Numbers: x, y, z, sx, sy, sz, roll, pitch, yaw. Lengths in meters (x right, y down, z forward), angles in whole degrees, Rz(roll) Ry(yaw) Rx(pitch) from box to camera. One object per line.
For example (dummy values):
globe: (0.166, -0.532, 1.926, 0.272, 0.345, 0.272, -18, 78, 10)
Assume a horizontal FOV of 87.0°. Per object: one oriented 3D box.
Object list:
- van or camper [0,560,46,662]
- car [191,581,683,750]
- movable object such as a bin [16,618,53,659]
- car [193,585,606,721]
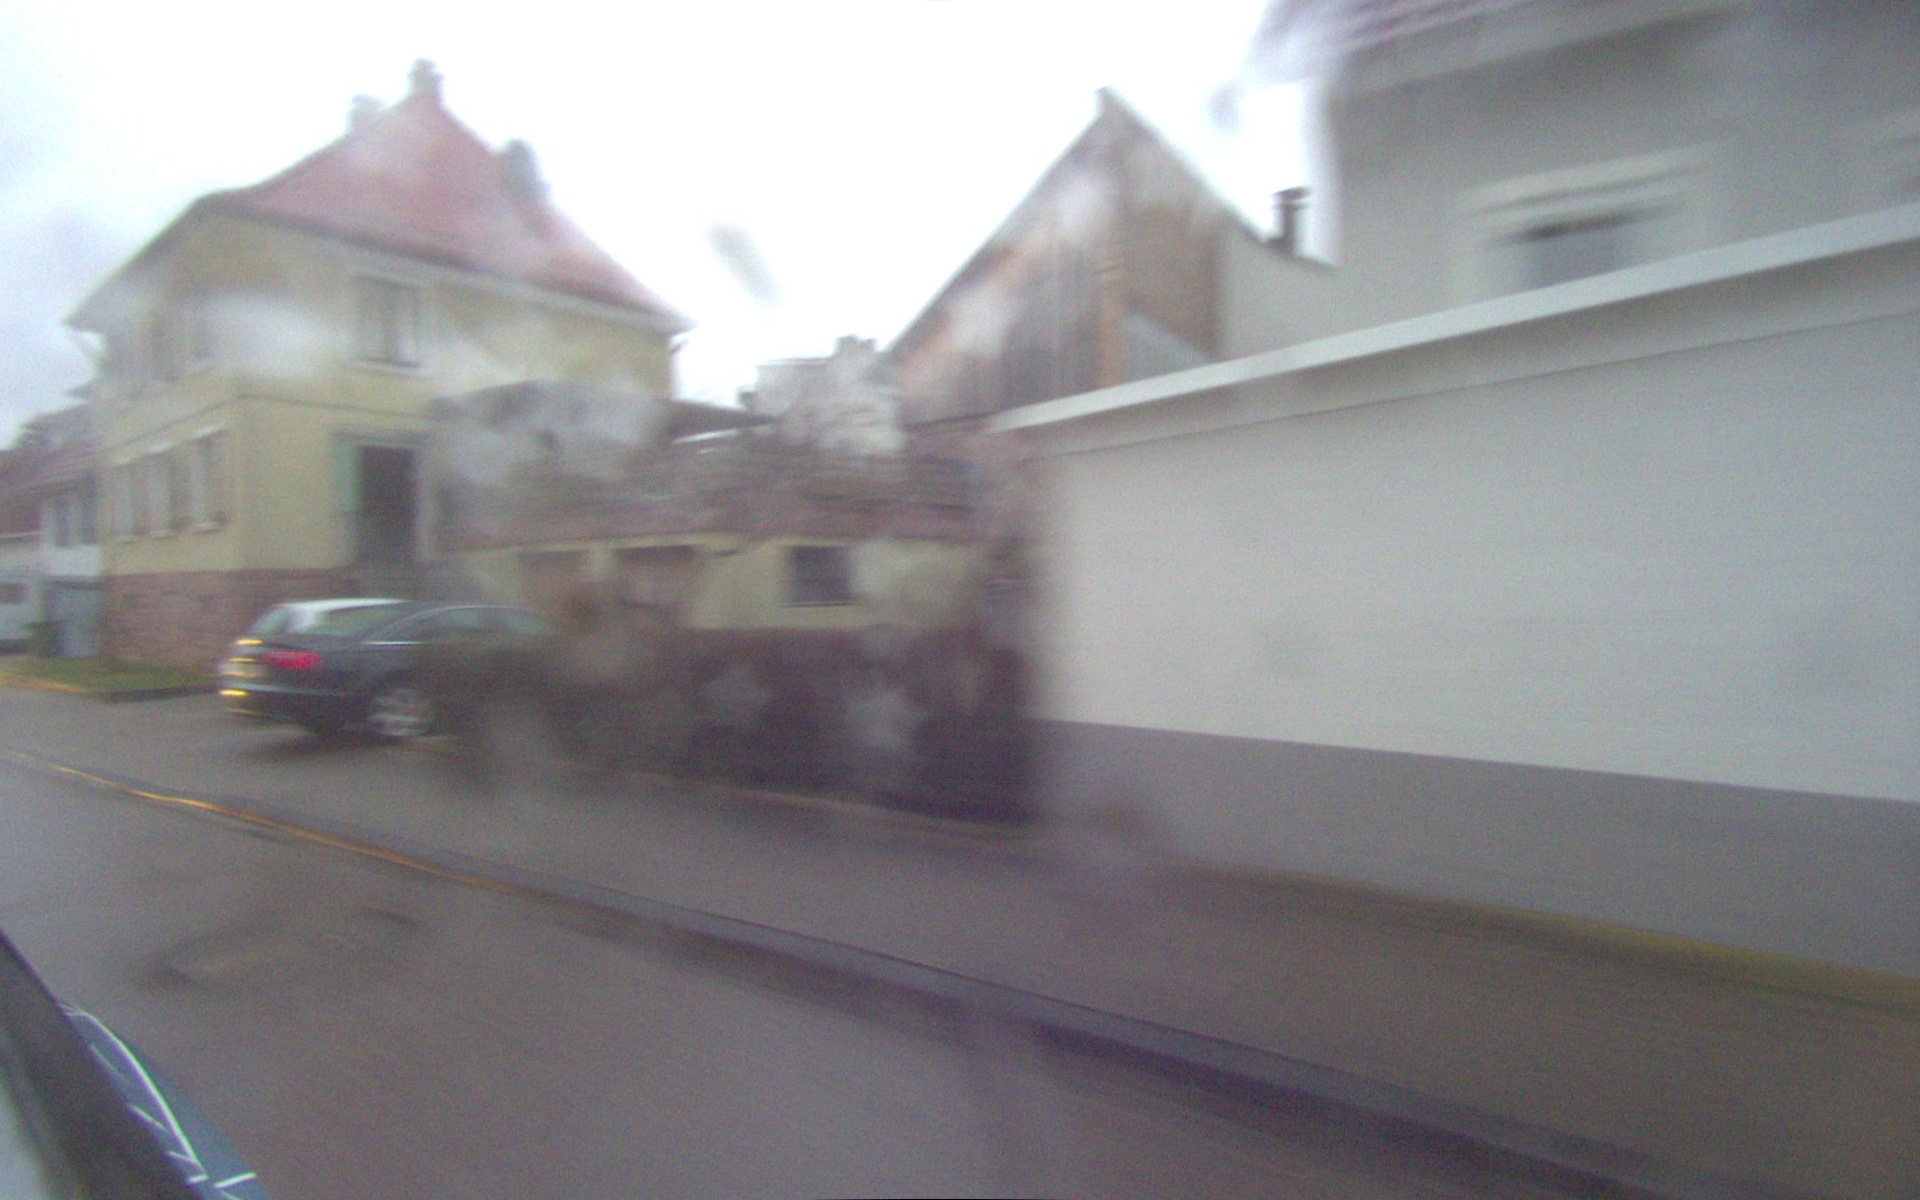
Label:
van or camper: (-29.987, 0.329, 28.462, 2.317, 2.964, 6.009, -1, -1, 33)
car: (-5.630, 0.559, 11.484, 1.996, 1.481, 4.553, -1, 1, 36)
movable object such as a bin: (-24.538, 1.010, 26.825, 0.580, 1.028, 0.610, -1, 2, 39)
car: (-7.405, 0.586, 13.799, 1.890, 1.481, 4.557, -1, 1, 39)
